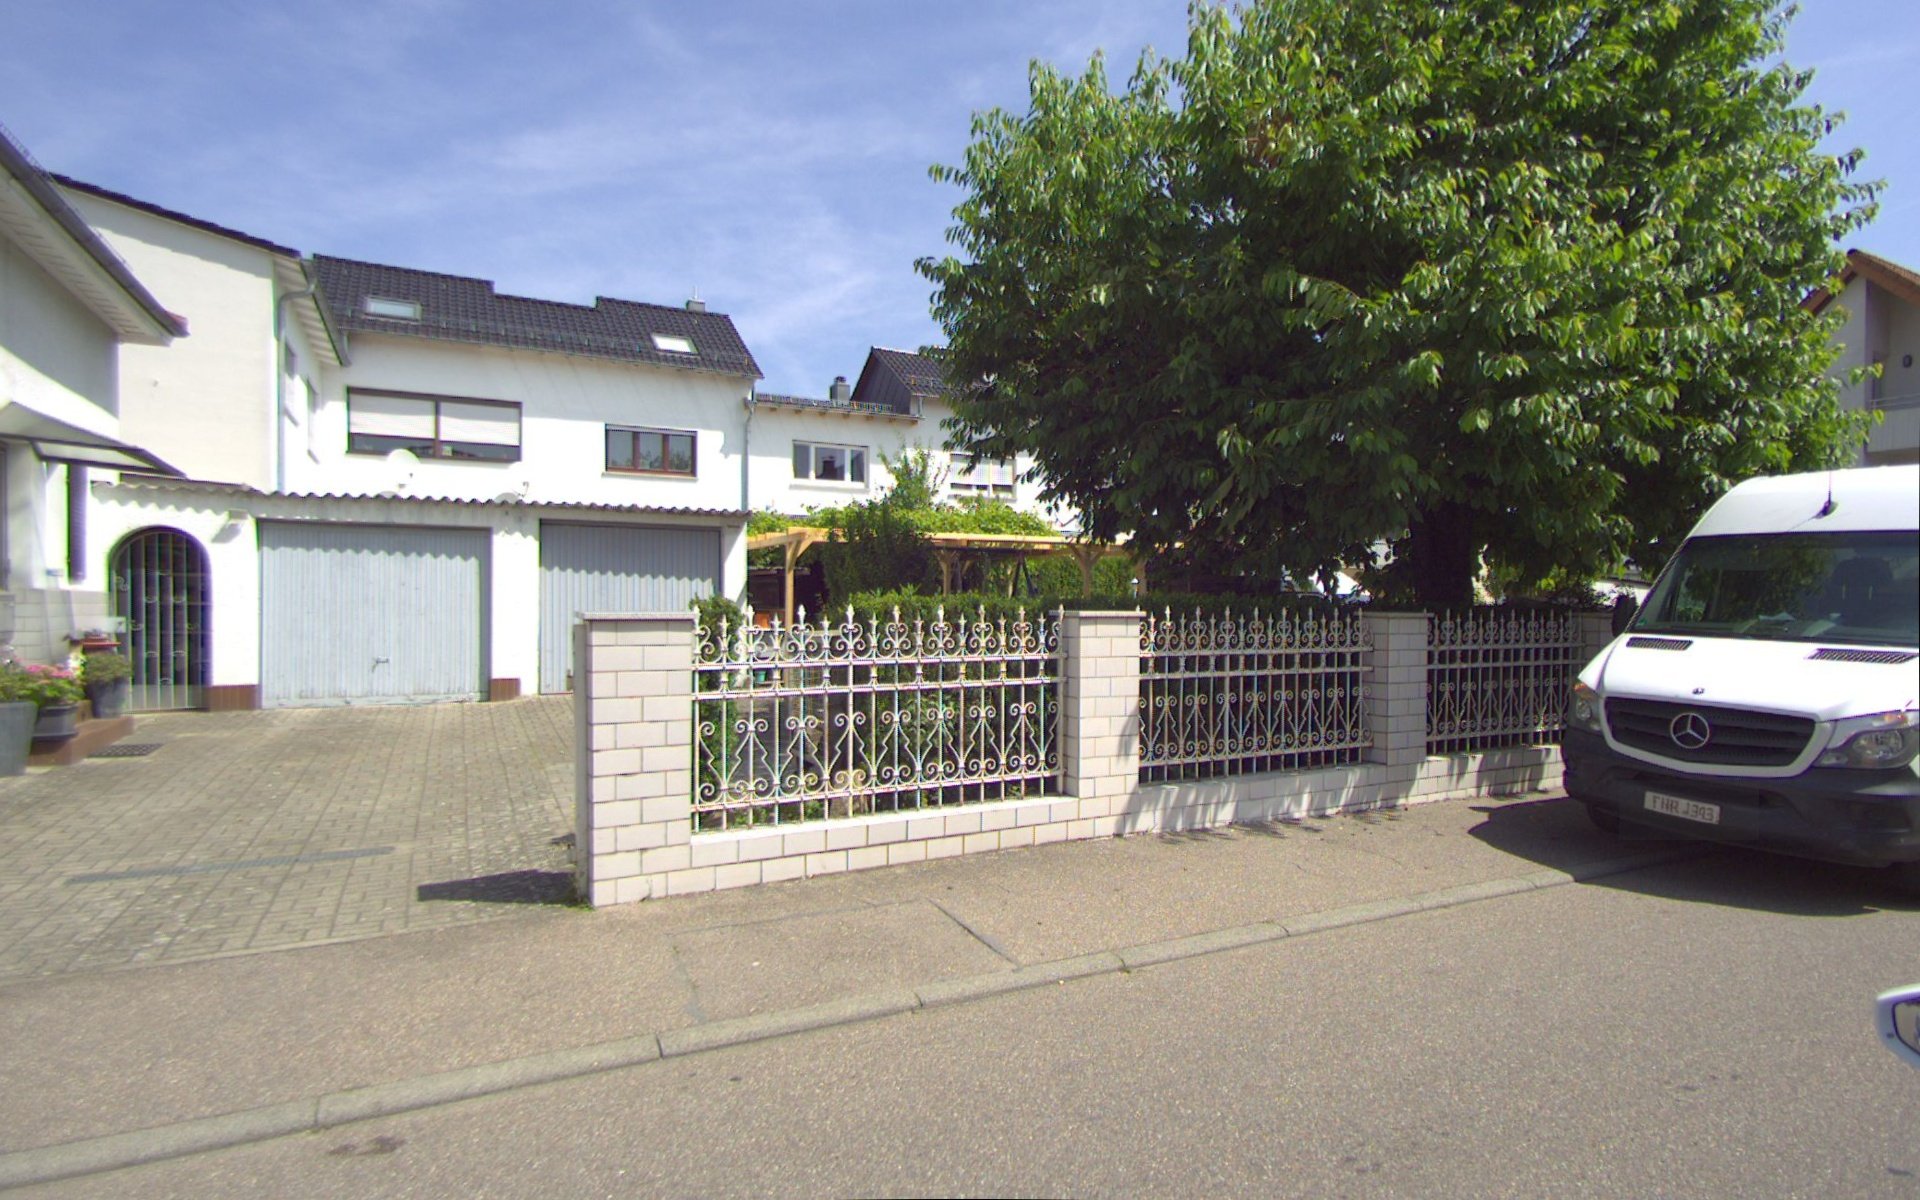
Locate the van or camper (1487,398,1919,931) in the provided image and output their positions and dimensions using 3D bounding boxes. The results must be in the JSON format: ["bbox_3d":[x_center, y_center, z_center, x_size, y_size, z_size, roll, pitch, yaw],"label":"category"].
[{"bbox_3d":[7.074,0.358,7.502,6.723,2.606,2.175,1,1,-29],"label":"van or camper"}]

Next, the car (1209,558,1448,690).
[{"bbox_3d":[7.822,0.487,21.830,1.942,2.526,4.781,1,0,-29],"label":"car"}]
